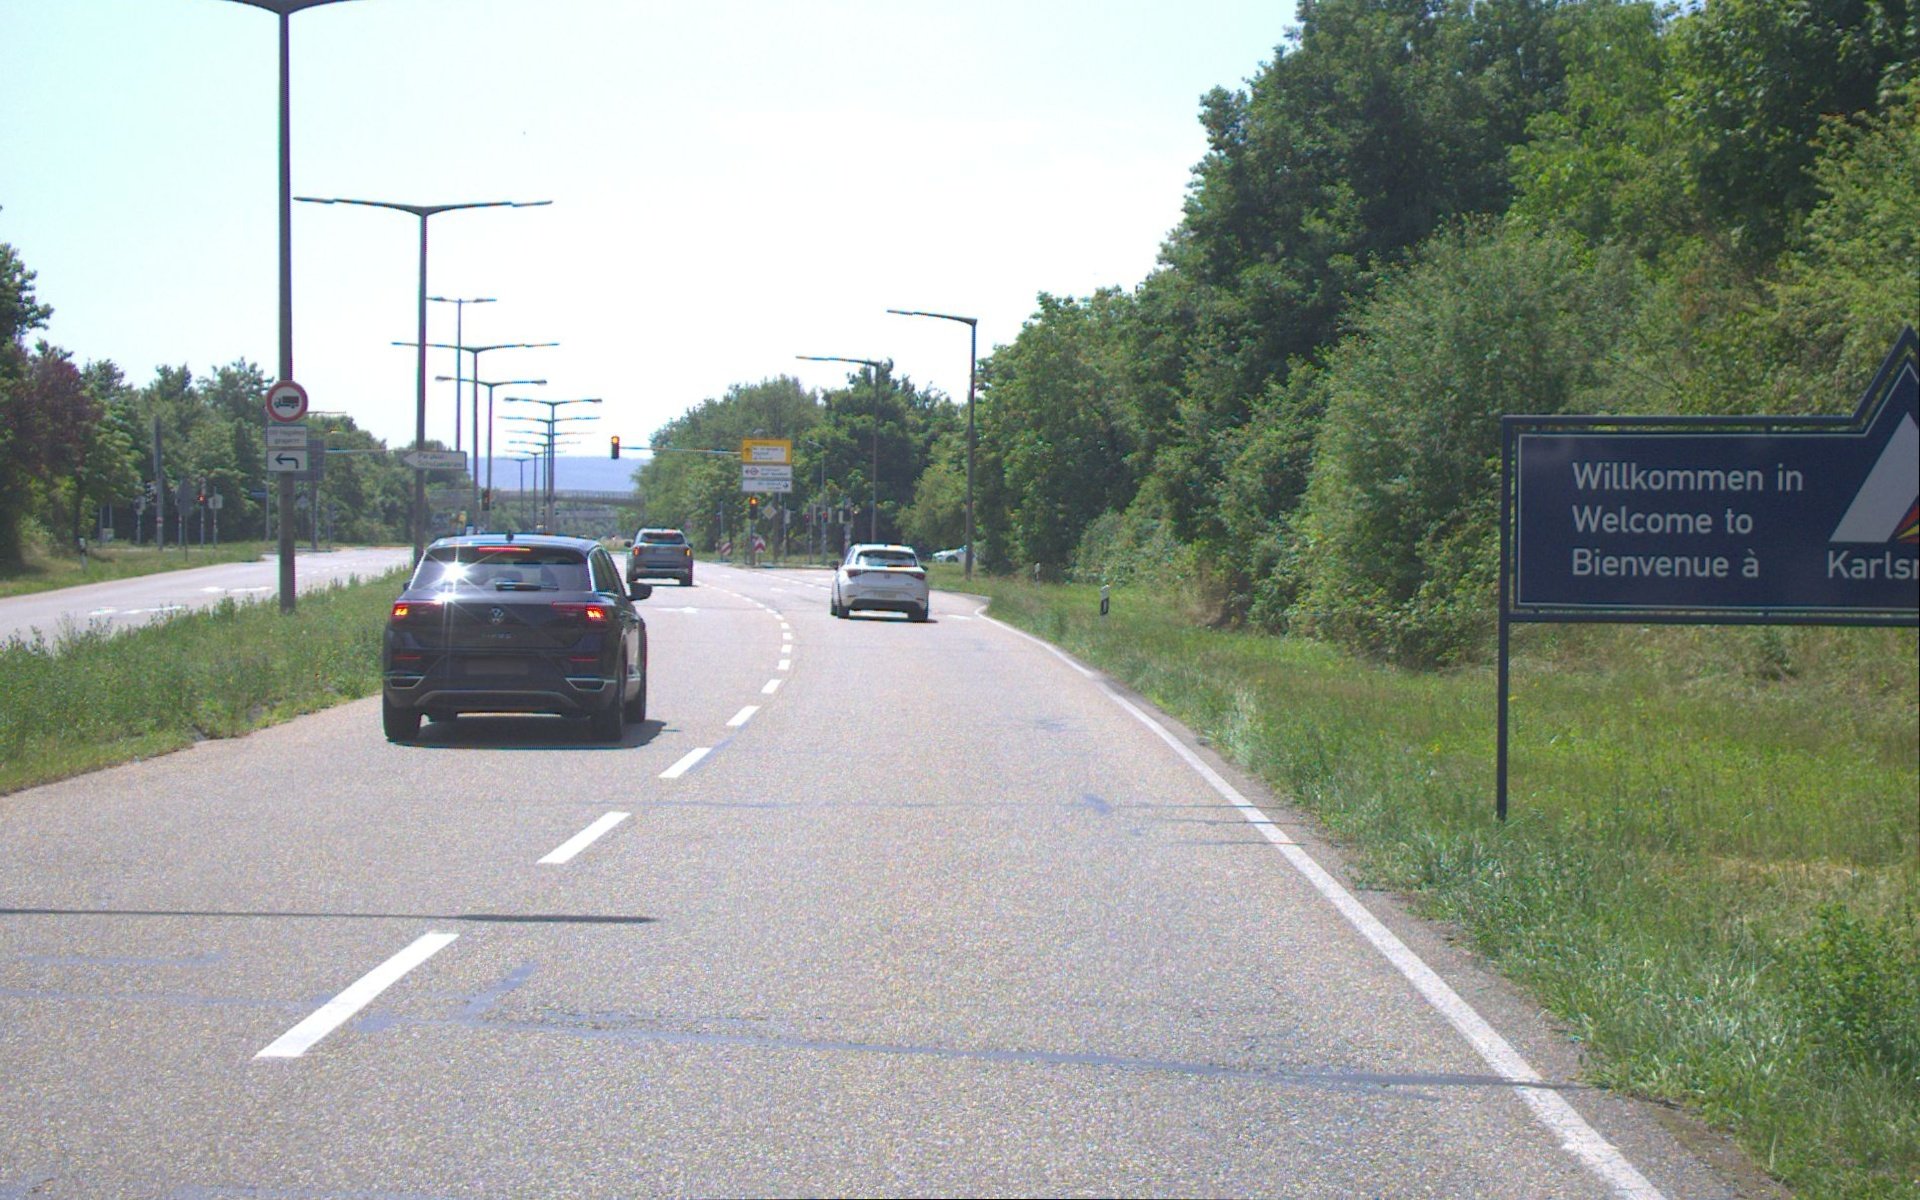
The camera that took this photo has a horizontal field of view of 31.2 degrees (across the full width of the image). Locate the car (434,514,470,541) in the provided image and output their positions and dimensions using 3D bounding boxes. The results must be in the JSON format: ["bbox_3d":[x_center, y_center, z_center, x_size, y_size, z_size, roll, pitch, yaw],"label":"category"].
[{"bbox_3d":[-30.478,-4.353,206.358,1.828,1.514,4.001,2,1,-4],"label":"car"}]

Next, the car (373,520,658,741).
[{"bbox_3d":[-3.382,0.189,26.824,1.755,1.551,4.000,2,1,-1],"label":"car"}]

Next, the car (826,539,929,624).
[{"bbox_3d":[-1.639,-0.374,67.000,1.797,1.577,4.001,1,1,-4],"label":"car"}]

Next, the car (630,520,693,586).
[{"bbox_3d":[-9.093,-1.440,104.542,1.755,1.922,4.001,2,1,-6],"label":"car"}]
